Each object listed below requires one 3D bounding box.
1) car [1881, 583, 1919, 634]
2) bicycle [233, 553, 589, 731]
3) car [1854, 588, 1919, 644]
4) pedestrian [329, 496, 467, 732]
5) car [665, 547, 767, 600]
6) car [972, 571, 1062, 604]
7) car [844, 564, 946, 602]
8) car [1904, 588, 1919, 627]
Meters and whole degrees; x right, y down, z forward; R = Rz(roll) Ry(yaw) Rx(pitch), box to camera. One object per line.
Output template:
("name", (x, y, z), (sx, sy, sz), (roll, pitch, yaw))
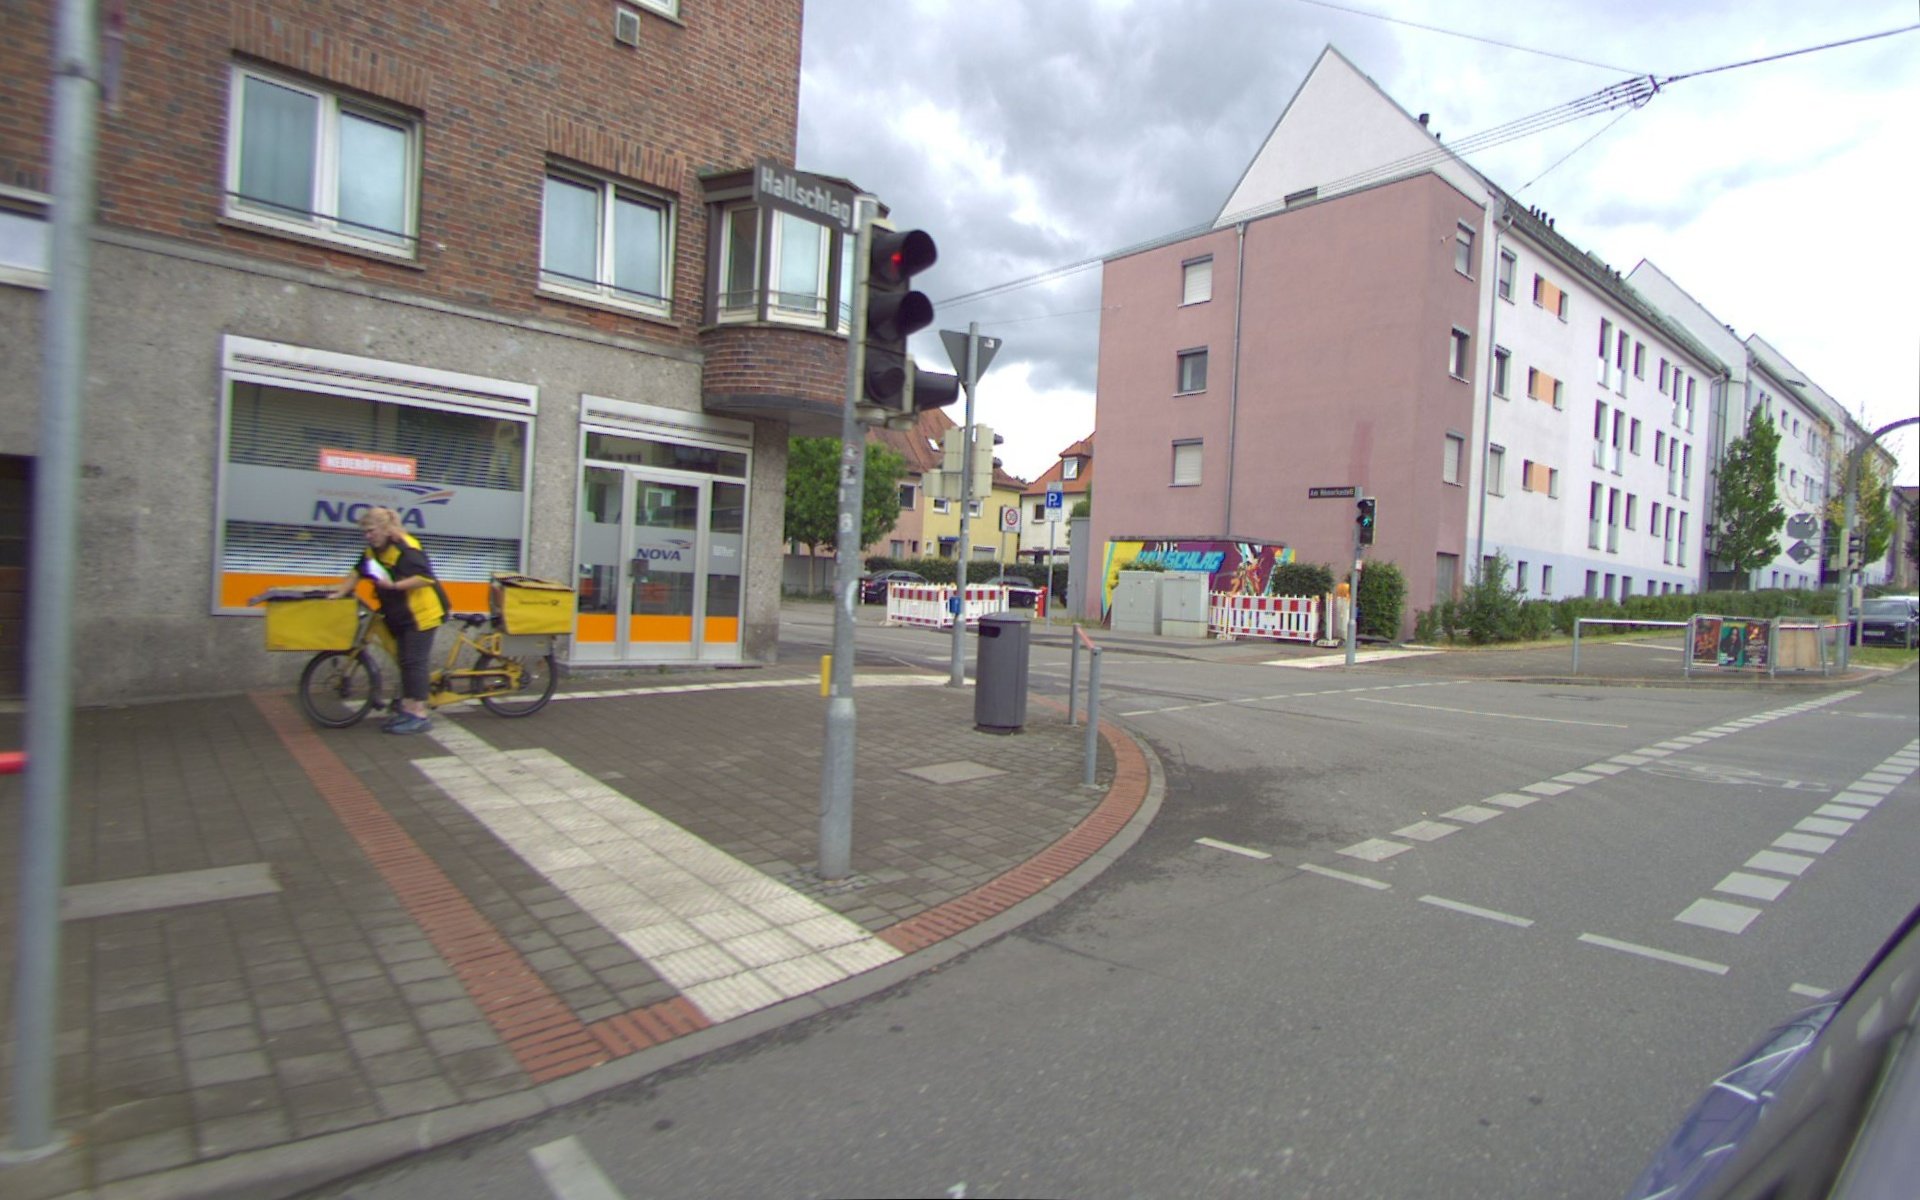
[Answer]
("car", (34.083, 0.268, 35.884), (4.473, 1.737, 1.661), (0, 1, -42))
("bicycle", (-4.223, 0.266, 7.941), (2.350, 1.208, 0.761), (0, 2, -41))
("car", (29.919, 0.443, 32.214), (4.495, 1.608, 1.737), (-1, 2, -43))
("pedestrian", (-4.297, 0.072, 7.726), (0.758, 1.676, 0.790), (0, 4, -40))
("car", (-8.746, -0.970, 36.067), (1.811, 1.667, 4.258), (5, -1, -39))
("car", (2.586, -0.570, 45.615), (3.824, 1.372, 1.752), (0, 2, -37))
("car", (-2.620, -0.696, 41.312), (3.827, 1.372, 1.750), (2, 1, -40))
("car", (39.102, 0.287, 40.369), (4.865, 1.486, 1.748), (-1, 1, -43))
